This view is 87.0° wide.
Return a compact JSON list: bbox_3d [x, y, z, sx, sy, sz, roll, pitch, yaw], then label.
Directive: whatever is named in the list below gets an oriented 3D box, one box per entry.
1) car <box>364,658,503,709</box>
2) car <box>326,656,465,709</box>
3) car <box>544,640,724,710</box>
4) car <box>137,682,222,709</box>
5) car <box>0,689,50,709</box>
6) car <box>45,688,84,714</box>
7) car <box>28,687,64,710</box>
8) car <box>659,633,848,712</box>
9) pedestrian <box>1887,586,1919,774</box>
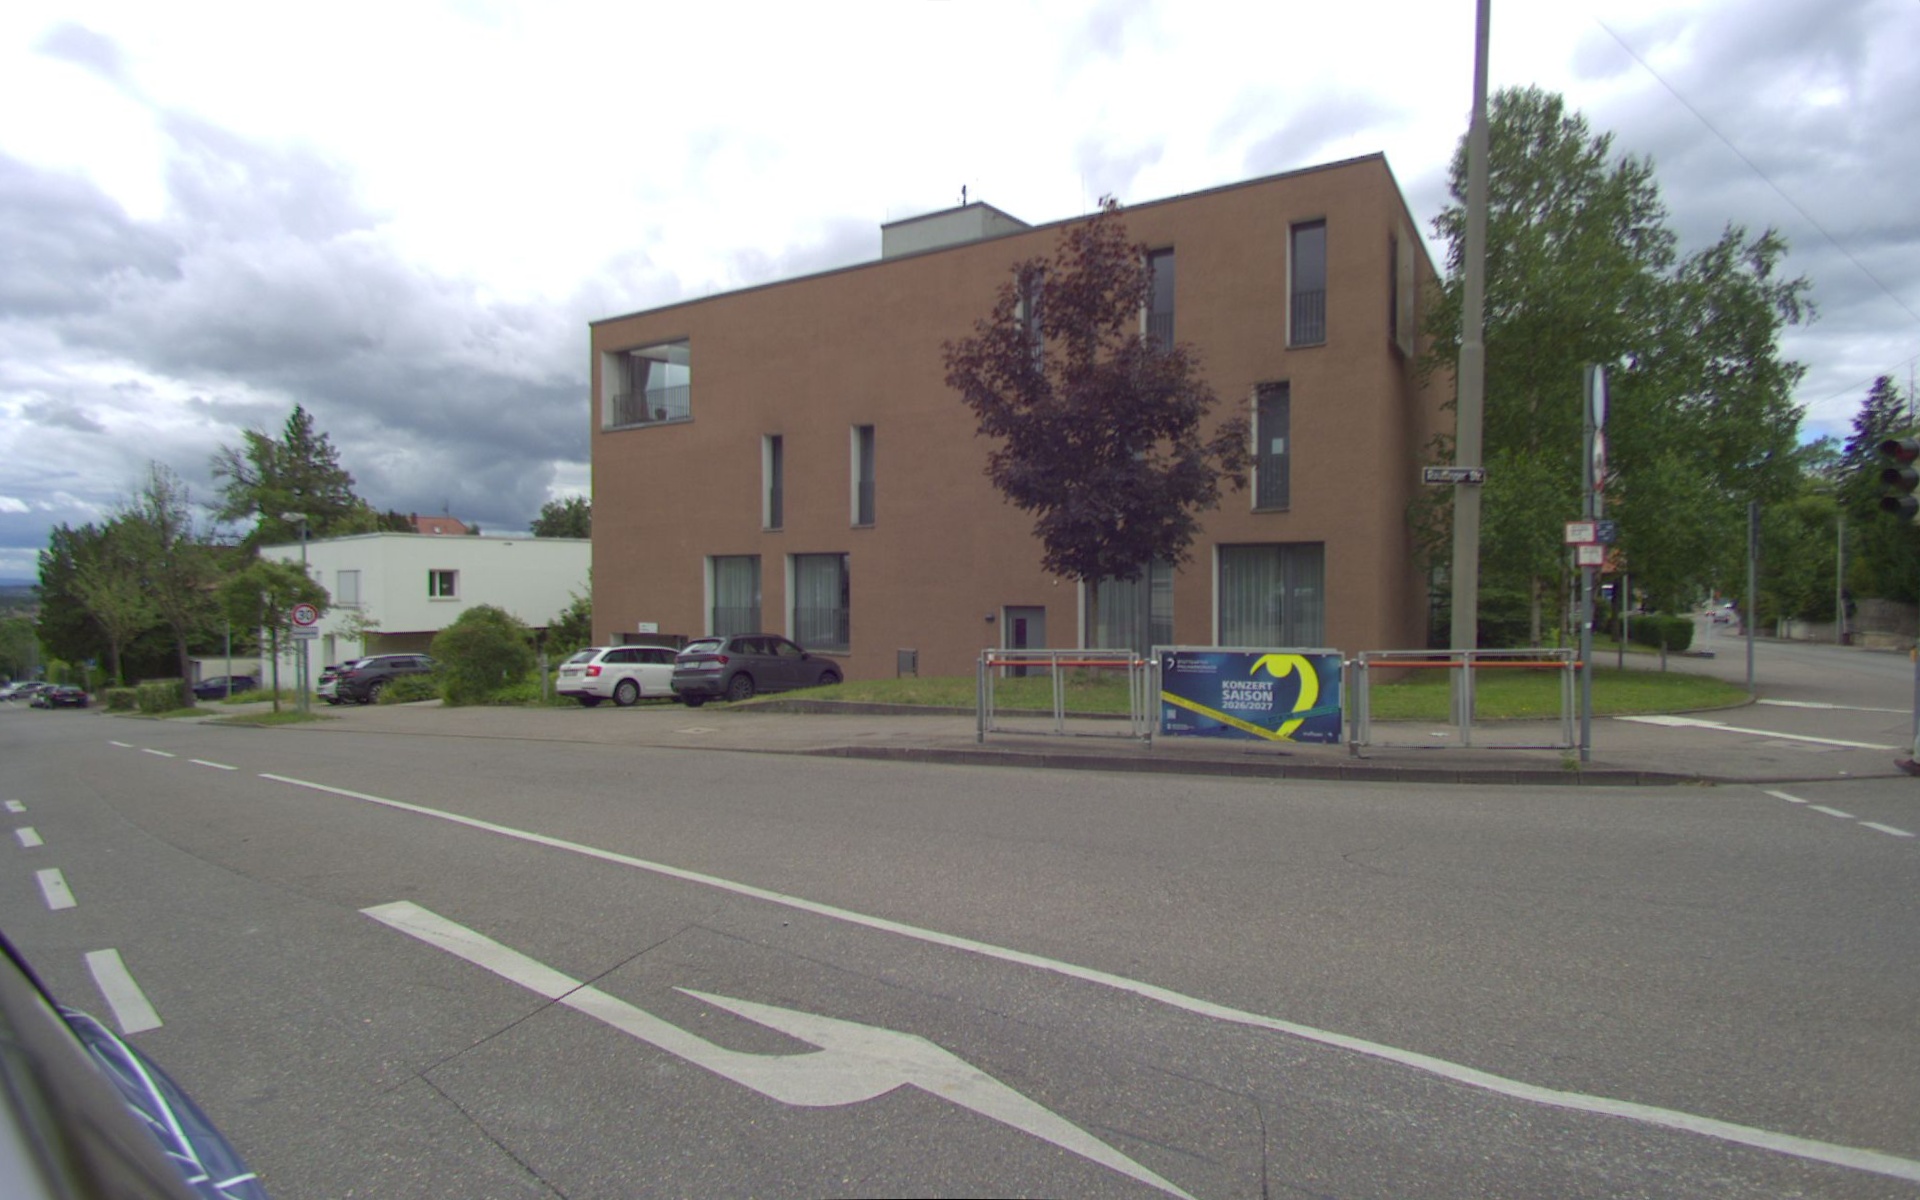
[{"bbox_3d":[-18.239,2.880,35.156,1.727,1.497,3.943,-6,-4,43],"label":"car"},{"bbox_3d":[-19.982,2.900,35.941,1.793,1.608,3.943,-6,-4,43],"label":"car"},{"bbox_3d":[-8.006,1.829,25.130,1.724,1.497,3.950,-5,-4,37],"label":"car"},{"bbox_3d":[-46.977,5.738,60.943,3.939,1.296,1.665,0,-4,-43],"label":"car"},{"bbox_3d":[-82.441,8.648,88.493,1.712,1.497,3.976,-4,-3,18],"label":"car"},{"bbox_3d":[-54.940,6.170,62.078,1.638,1.432,4.003,0,-4,-44],"label":"car"},{"bbox_3d":[-61.562,6.628,68.157,1.638,1.432,4.371,0,-4,-44],"label":"car"},{"bbox_3d":[-4.503,1.570,22.524,1.724,1.497,3.950,-5,-4,37],"label":"car"},{"bbox_3d":[8.714,0.693,8.732,0.674,1.646,0.739,-1,-2,3],"label":"pedestrian"}]
